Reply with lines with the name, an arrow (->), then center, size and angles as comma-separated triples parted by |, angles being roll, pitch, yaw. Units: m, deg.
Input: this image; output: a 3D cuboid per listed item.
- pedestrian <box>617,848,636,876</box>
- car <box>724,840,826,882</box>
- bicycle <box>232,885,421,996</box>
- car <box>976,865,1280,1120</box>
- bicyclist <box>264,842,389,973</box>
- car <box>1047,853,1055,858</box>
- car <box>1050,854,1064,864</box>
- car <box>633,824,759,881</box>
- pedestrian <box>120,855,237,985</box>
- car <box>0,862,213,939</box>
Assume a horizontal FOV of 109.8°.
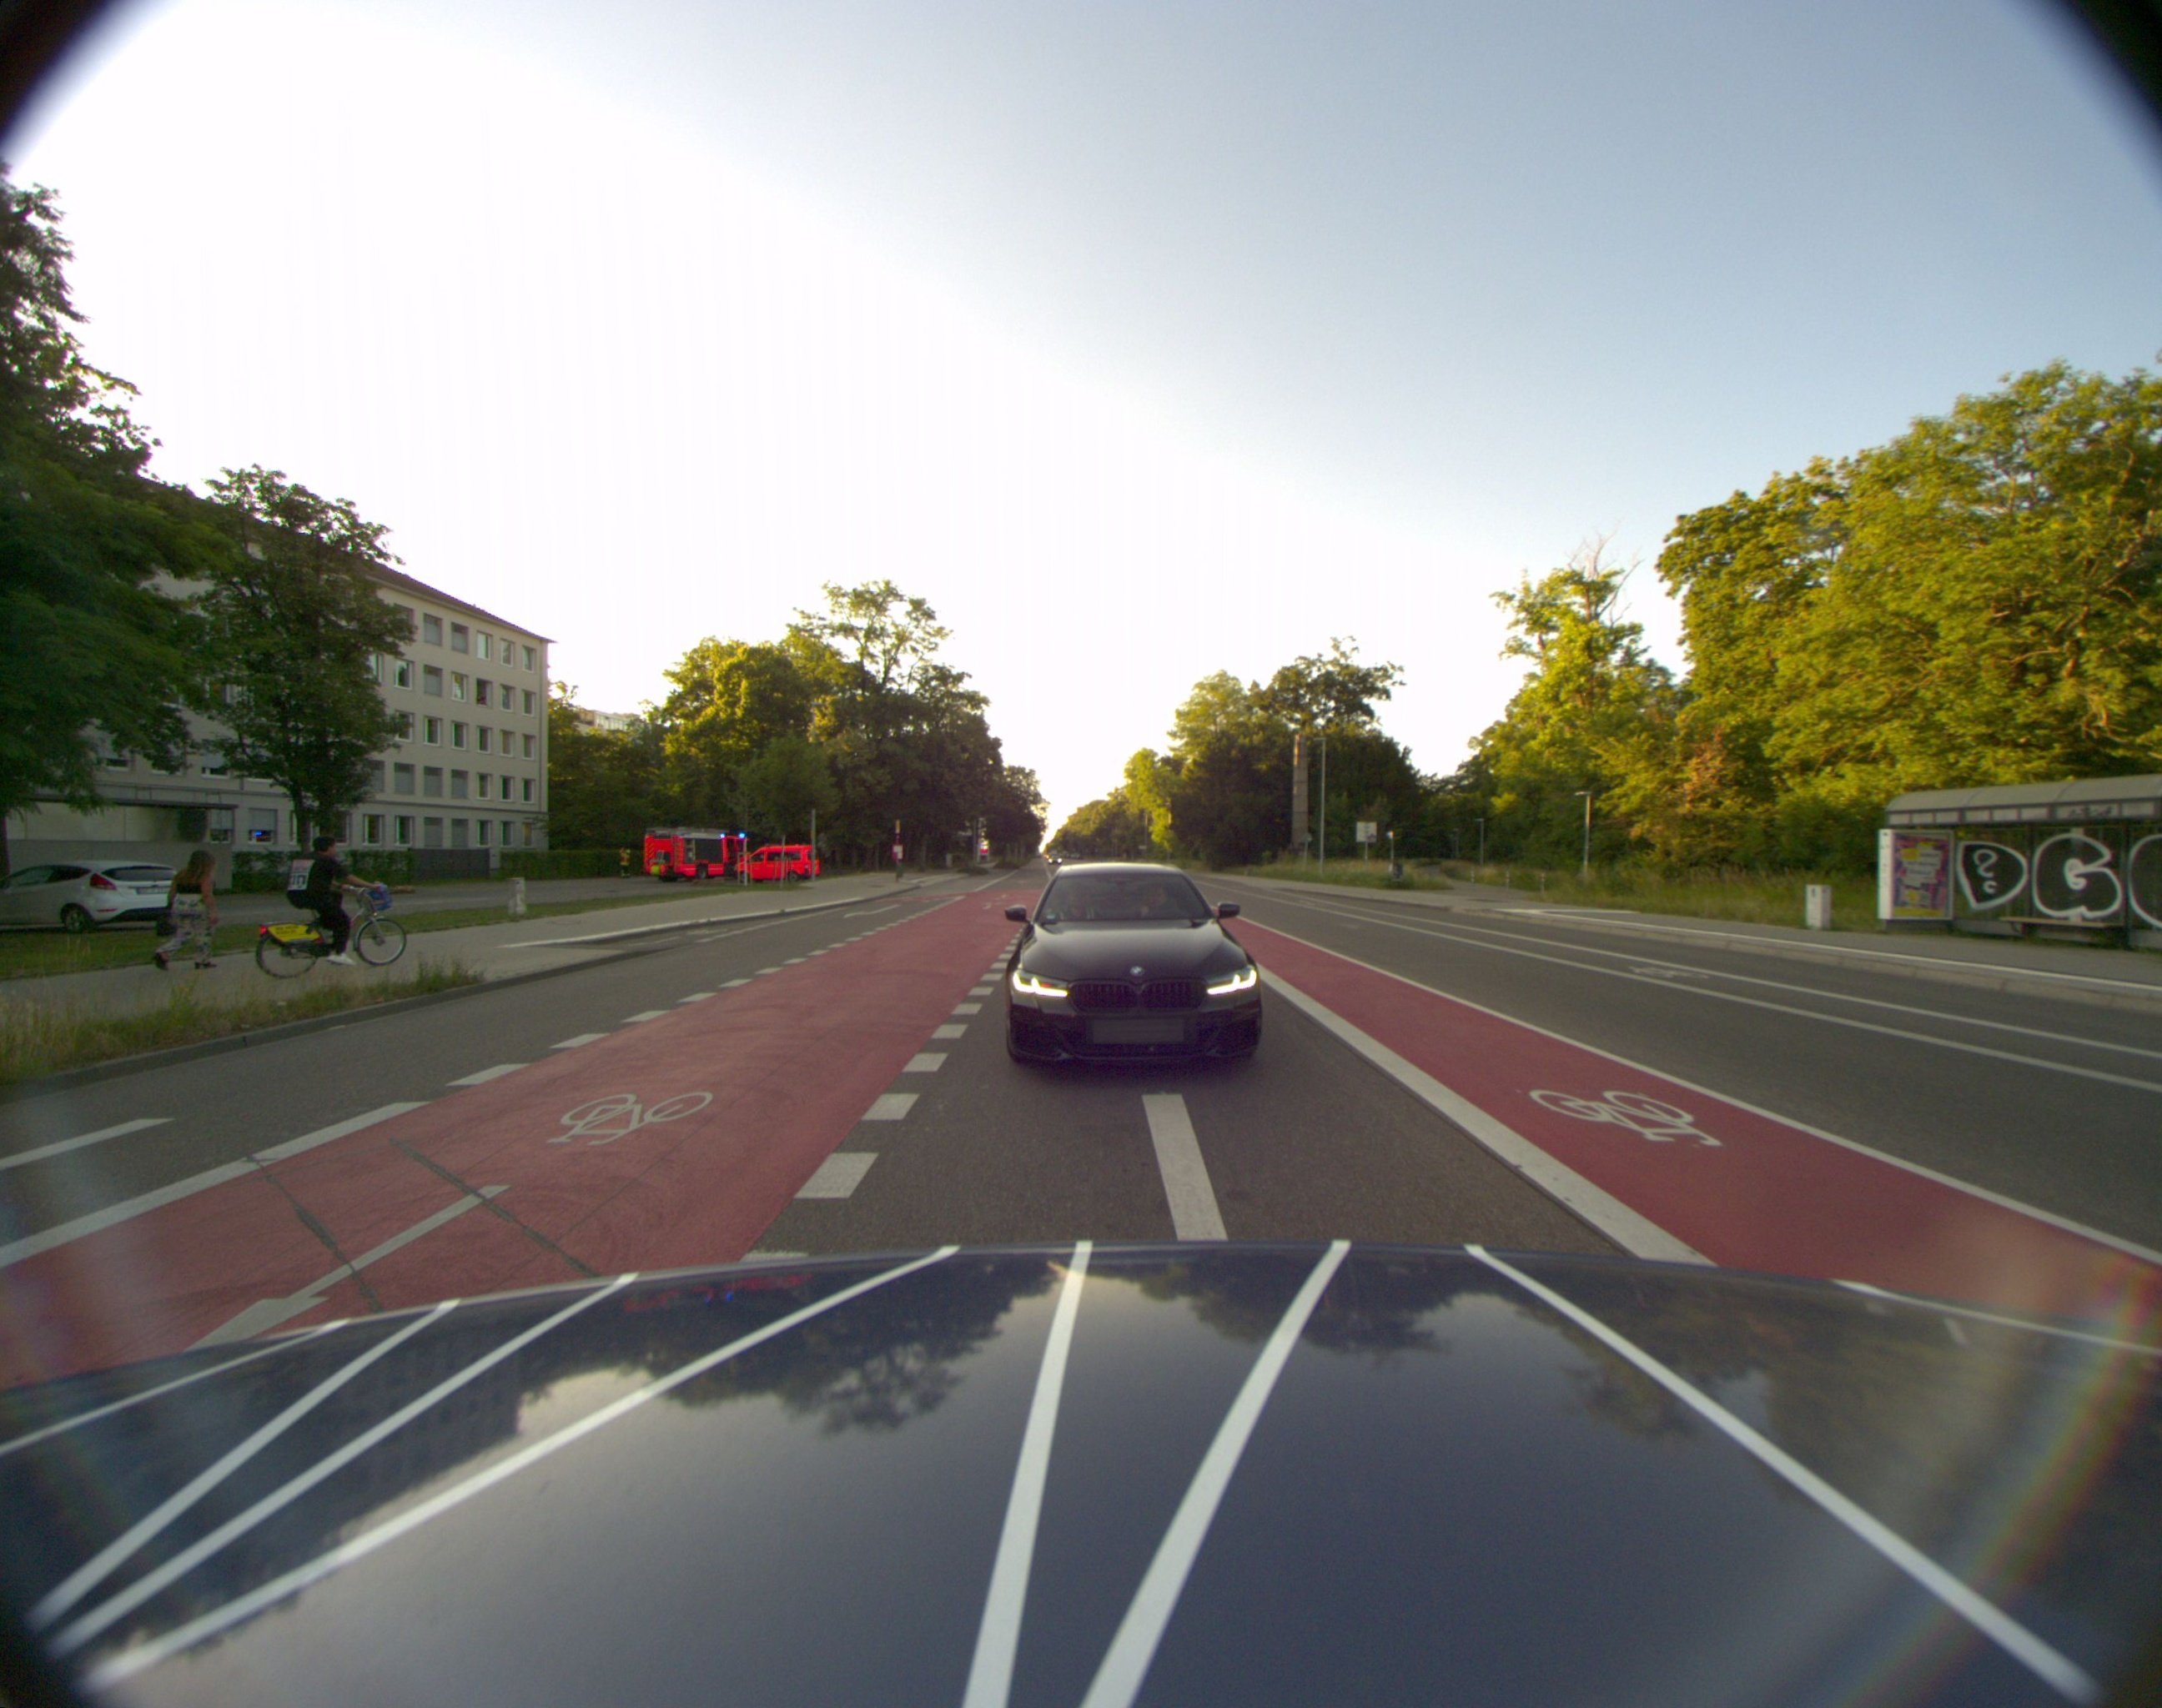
pedestrian -> -29.542, 0.521, 49.390 | 0.845, 1.831, 0.683 | 0, 0, 4
car -> -17.940, 0.396, 44.706 | 5.164, 2.379, 2.000 | 0, 1, 3
bicycle -> -9.819, 1.076, 10.005 | 0.571, 1.233, 1.899 | 0, 1, 1
car -> 0.266, 0.890, 7.279 | 1.818, 1.391, 5.212 | -2, 0, -1
bicyclist -> -9.819, 0.662, 9.929 | 0.571, 1.623, 1.038 | 0, 1, 1
car -> -8.518, 0.415, 217.042 | 1.851, 1.473, 4.701 | -2, 0, -5
car -> -3.706, 0.727, 116.776 | 1.851, 1.346, 4.701 | -2, 0, -4
car -> -23.621, -0.134, 47.235 | 2.770, 3.225, 8.301 | 0, 0, 7
pedestrian -> -11.602, 0.818, 9.791 | 0.682, 1.613, 0.688 | 0, 0, 1
car -> -20.818, 0.923, 15.877 | 3.662, 1.451, 1.665 | 0, 1, 5
